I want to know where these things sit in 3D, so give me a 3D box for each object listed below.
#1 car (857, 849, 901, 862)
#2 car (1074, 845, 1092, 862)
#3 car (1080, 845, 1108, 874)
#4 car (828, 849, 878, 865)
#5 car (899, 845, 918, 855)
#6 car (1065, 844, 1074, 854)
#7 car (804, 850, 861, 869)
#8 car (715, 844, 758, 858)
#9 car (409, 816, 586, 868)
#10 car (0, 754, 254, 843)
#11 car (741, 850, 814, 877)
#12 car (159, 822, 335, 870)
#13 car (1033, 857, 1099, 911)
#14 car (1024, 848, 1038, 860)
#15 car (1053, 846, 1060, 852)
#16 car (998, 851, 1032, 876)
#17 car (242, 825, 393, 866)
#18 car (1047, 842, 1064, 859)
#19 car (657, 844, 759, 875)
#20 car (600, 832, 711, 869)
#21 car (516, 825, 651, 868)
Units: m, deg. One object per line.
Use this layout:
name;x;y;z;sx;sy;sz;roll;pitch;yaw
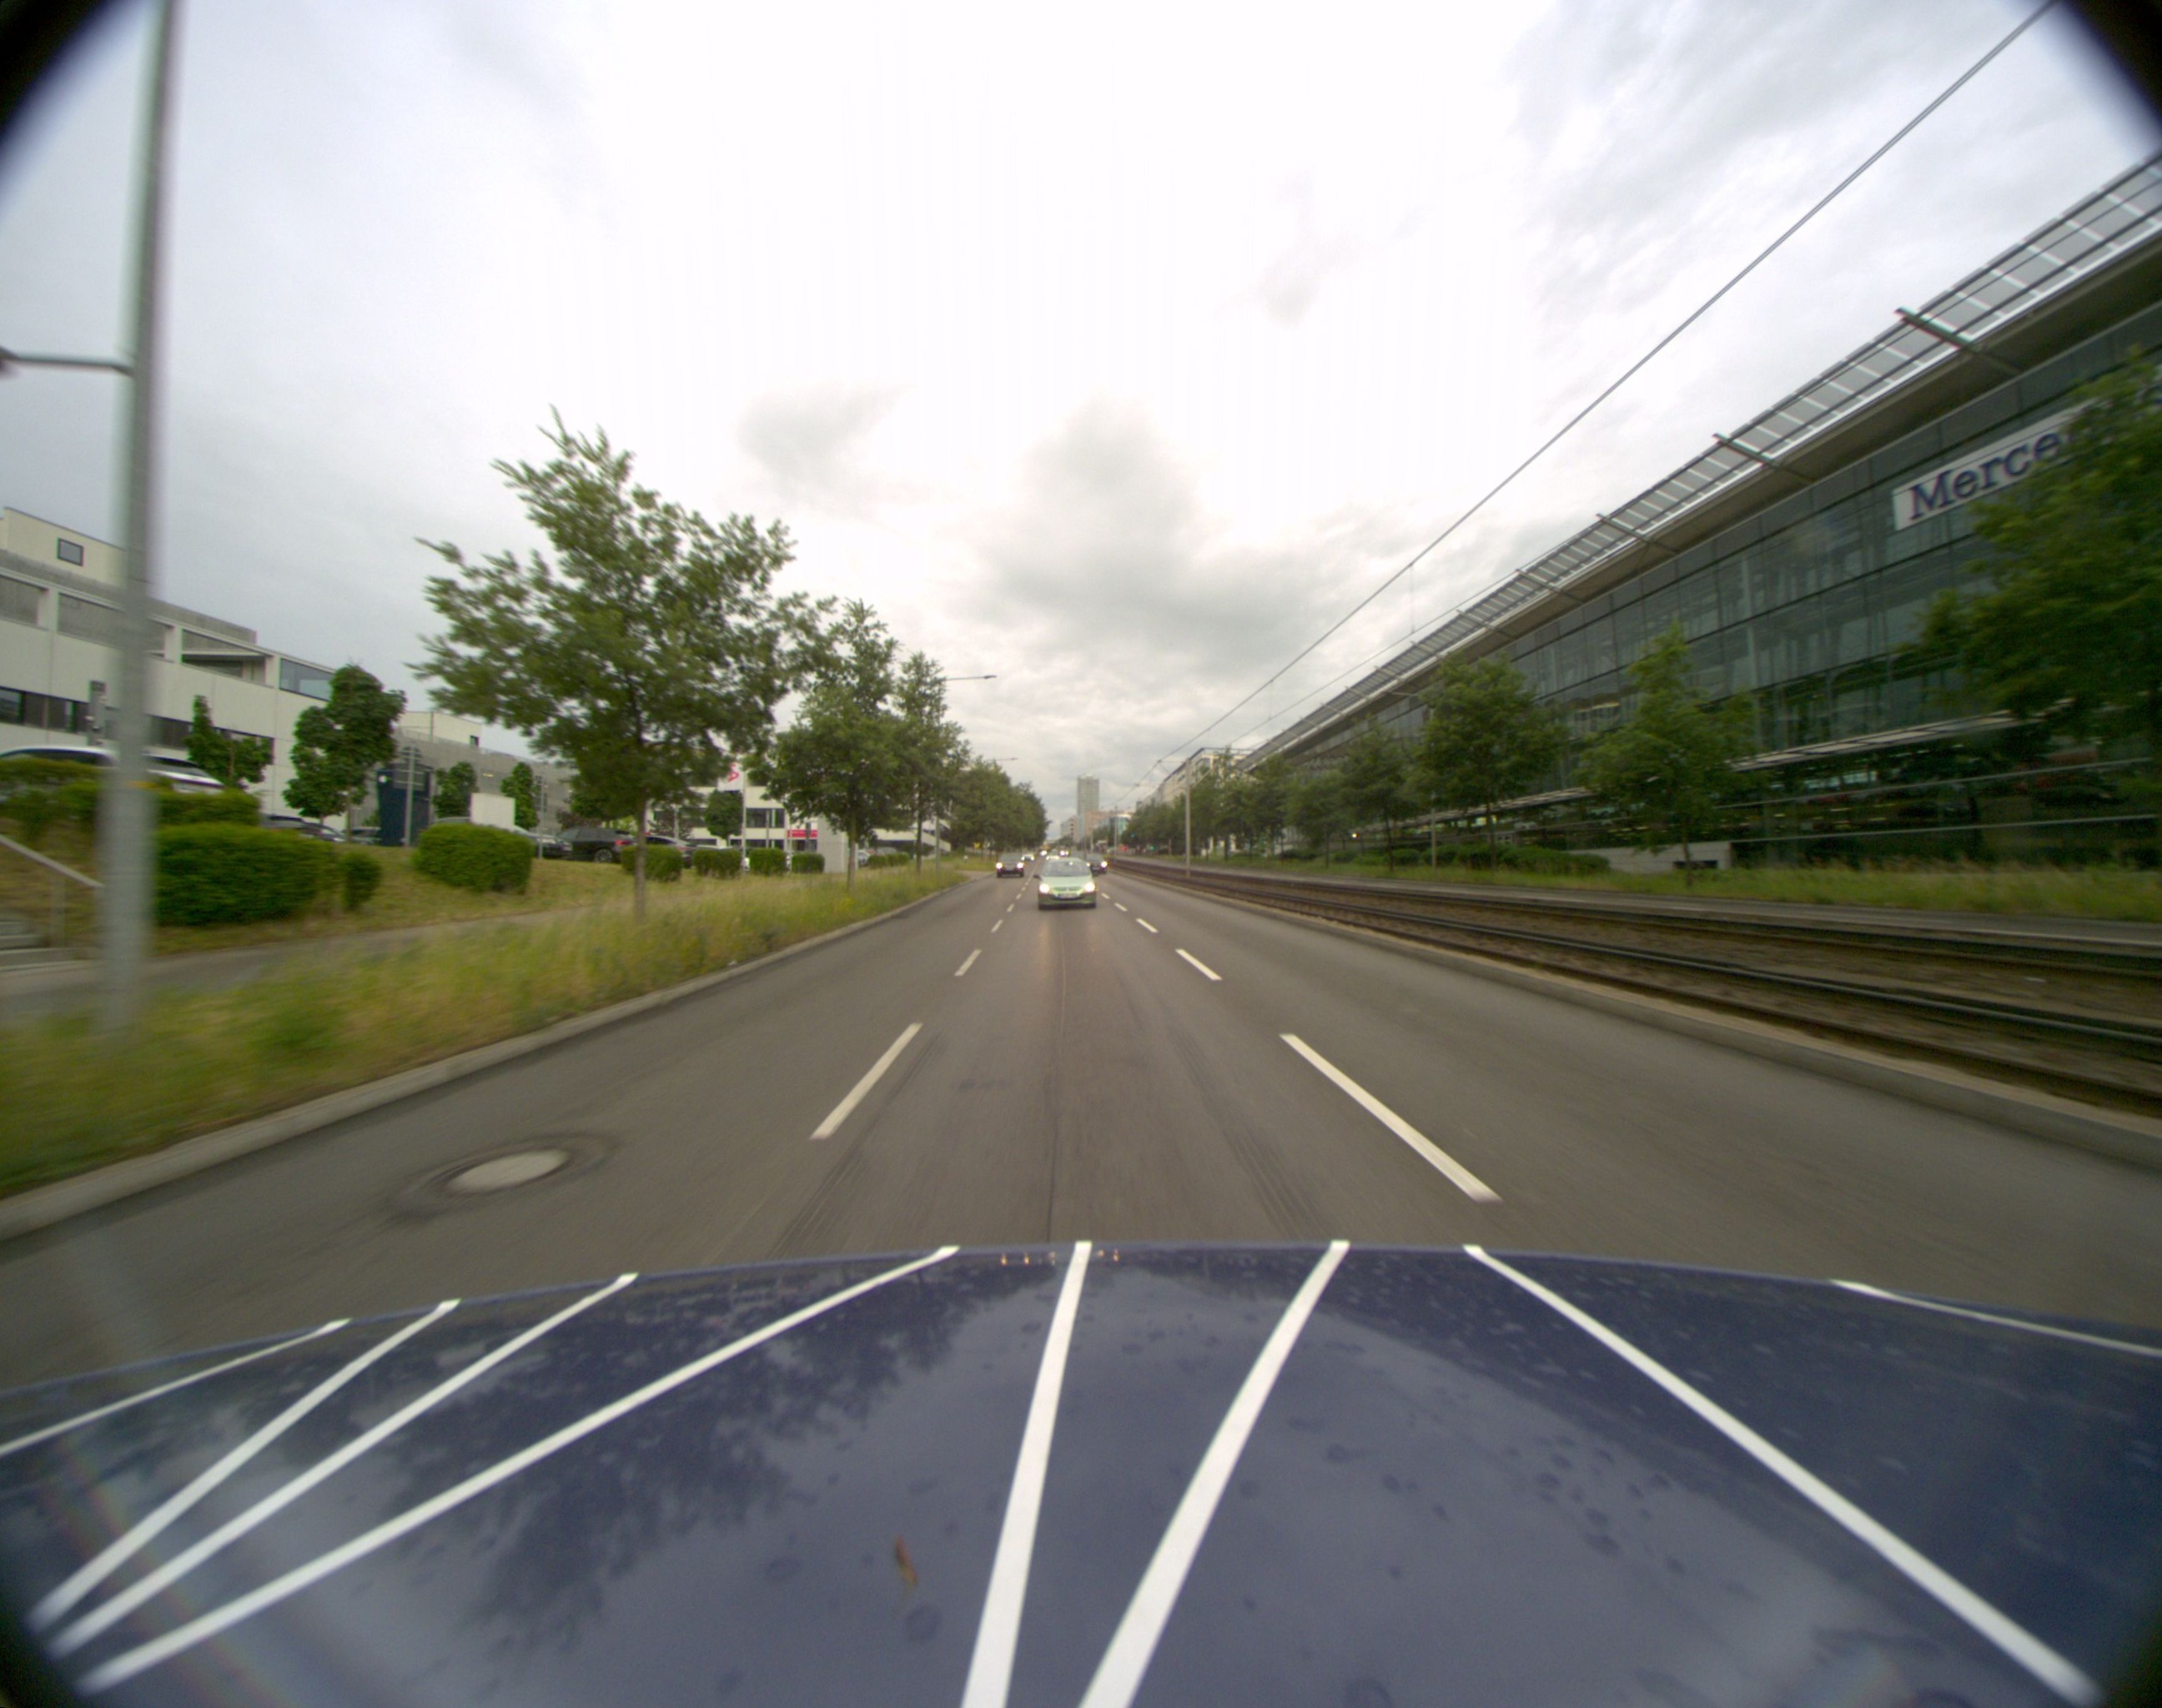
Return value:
car;-22.504;0.151;84.851;4.410;1.341;1.930;1;2;-3
car;0.217;-0.076;80.635;1.860;1.799;4.113;0;0;0
car;0.964;0.365;57.111;1.998;2.002;3.999;-2;2;0
car;-22.676;0.293;75.768;4.474;1.520;1.930;1;2;-3
car;-23.010;-0.527;101.524;1.903;1.330;3.920;0;1;-3
car;-2.780;-1.157;176.608;1.999;2.002;3.998;-2;2;-1
car;-21.818;0.456;66.878;4.475;1.542;1.929;0;2;-7
car;-40.613;-0.399;89.657;4.289;1.584;1.825;0;2;-5
car;-19.335;-0.390;25.321;4.433;1.565;1.692;-1;0;-4
car;-19.651;-1.064;15.149;4.271;1.565;1.692;-1;0;-3
car;-19.941;0.624;50.121;4.119;1.585;1.946;-1;2;-11
car;-29.793;-0.279;27.258;4.117;1.565;1.825;-1;0;-3
car;-0.395;0.878;23.849;1.828;1.499;4.114;-1;0;1
car;-7.868;-0.022;119.377;1.860;1.799;4.114;-1;-1;0
car;-7.206;-1.529;226.915;1.999;1.838;3.998;-2;2;-1
car;-4.539;0.609;52.691;1.828;1.599;4.114;-2;1;2
car;-30.124;-0.319;30.076;4.117;1.565;1.692;0;0;-4
car;-3.232;-0.442;97.801;1.998;2.002;3.999;-2;2;1
car;-19.801;0.267;40.441;4.532;1.585;1.691;0;2;-4
car;-19.695;-0.148;35.311;4.117;1.599;1.692;-1;0;-3
car;-19.683;-0.301;30.189;4.117;1.565;1.692;-1;0;-3
